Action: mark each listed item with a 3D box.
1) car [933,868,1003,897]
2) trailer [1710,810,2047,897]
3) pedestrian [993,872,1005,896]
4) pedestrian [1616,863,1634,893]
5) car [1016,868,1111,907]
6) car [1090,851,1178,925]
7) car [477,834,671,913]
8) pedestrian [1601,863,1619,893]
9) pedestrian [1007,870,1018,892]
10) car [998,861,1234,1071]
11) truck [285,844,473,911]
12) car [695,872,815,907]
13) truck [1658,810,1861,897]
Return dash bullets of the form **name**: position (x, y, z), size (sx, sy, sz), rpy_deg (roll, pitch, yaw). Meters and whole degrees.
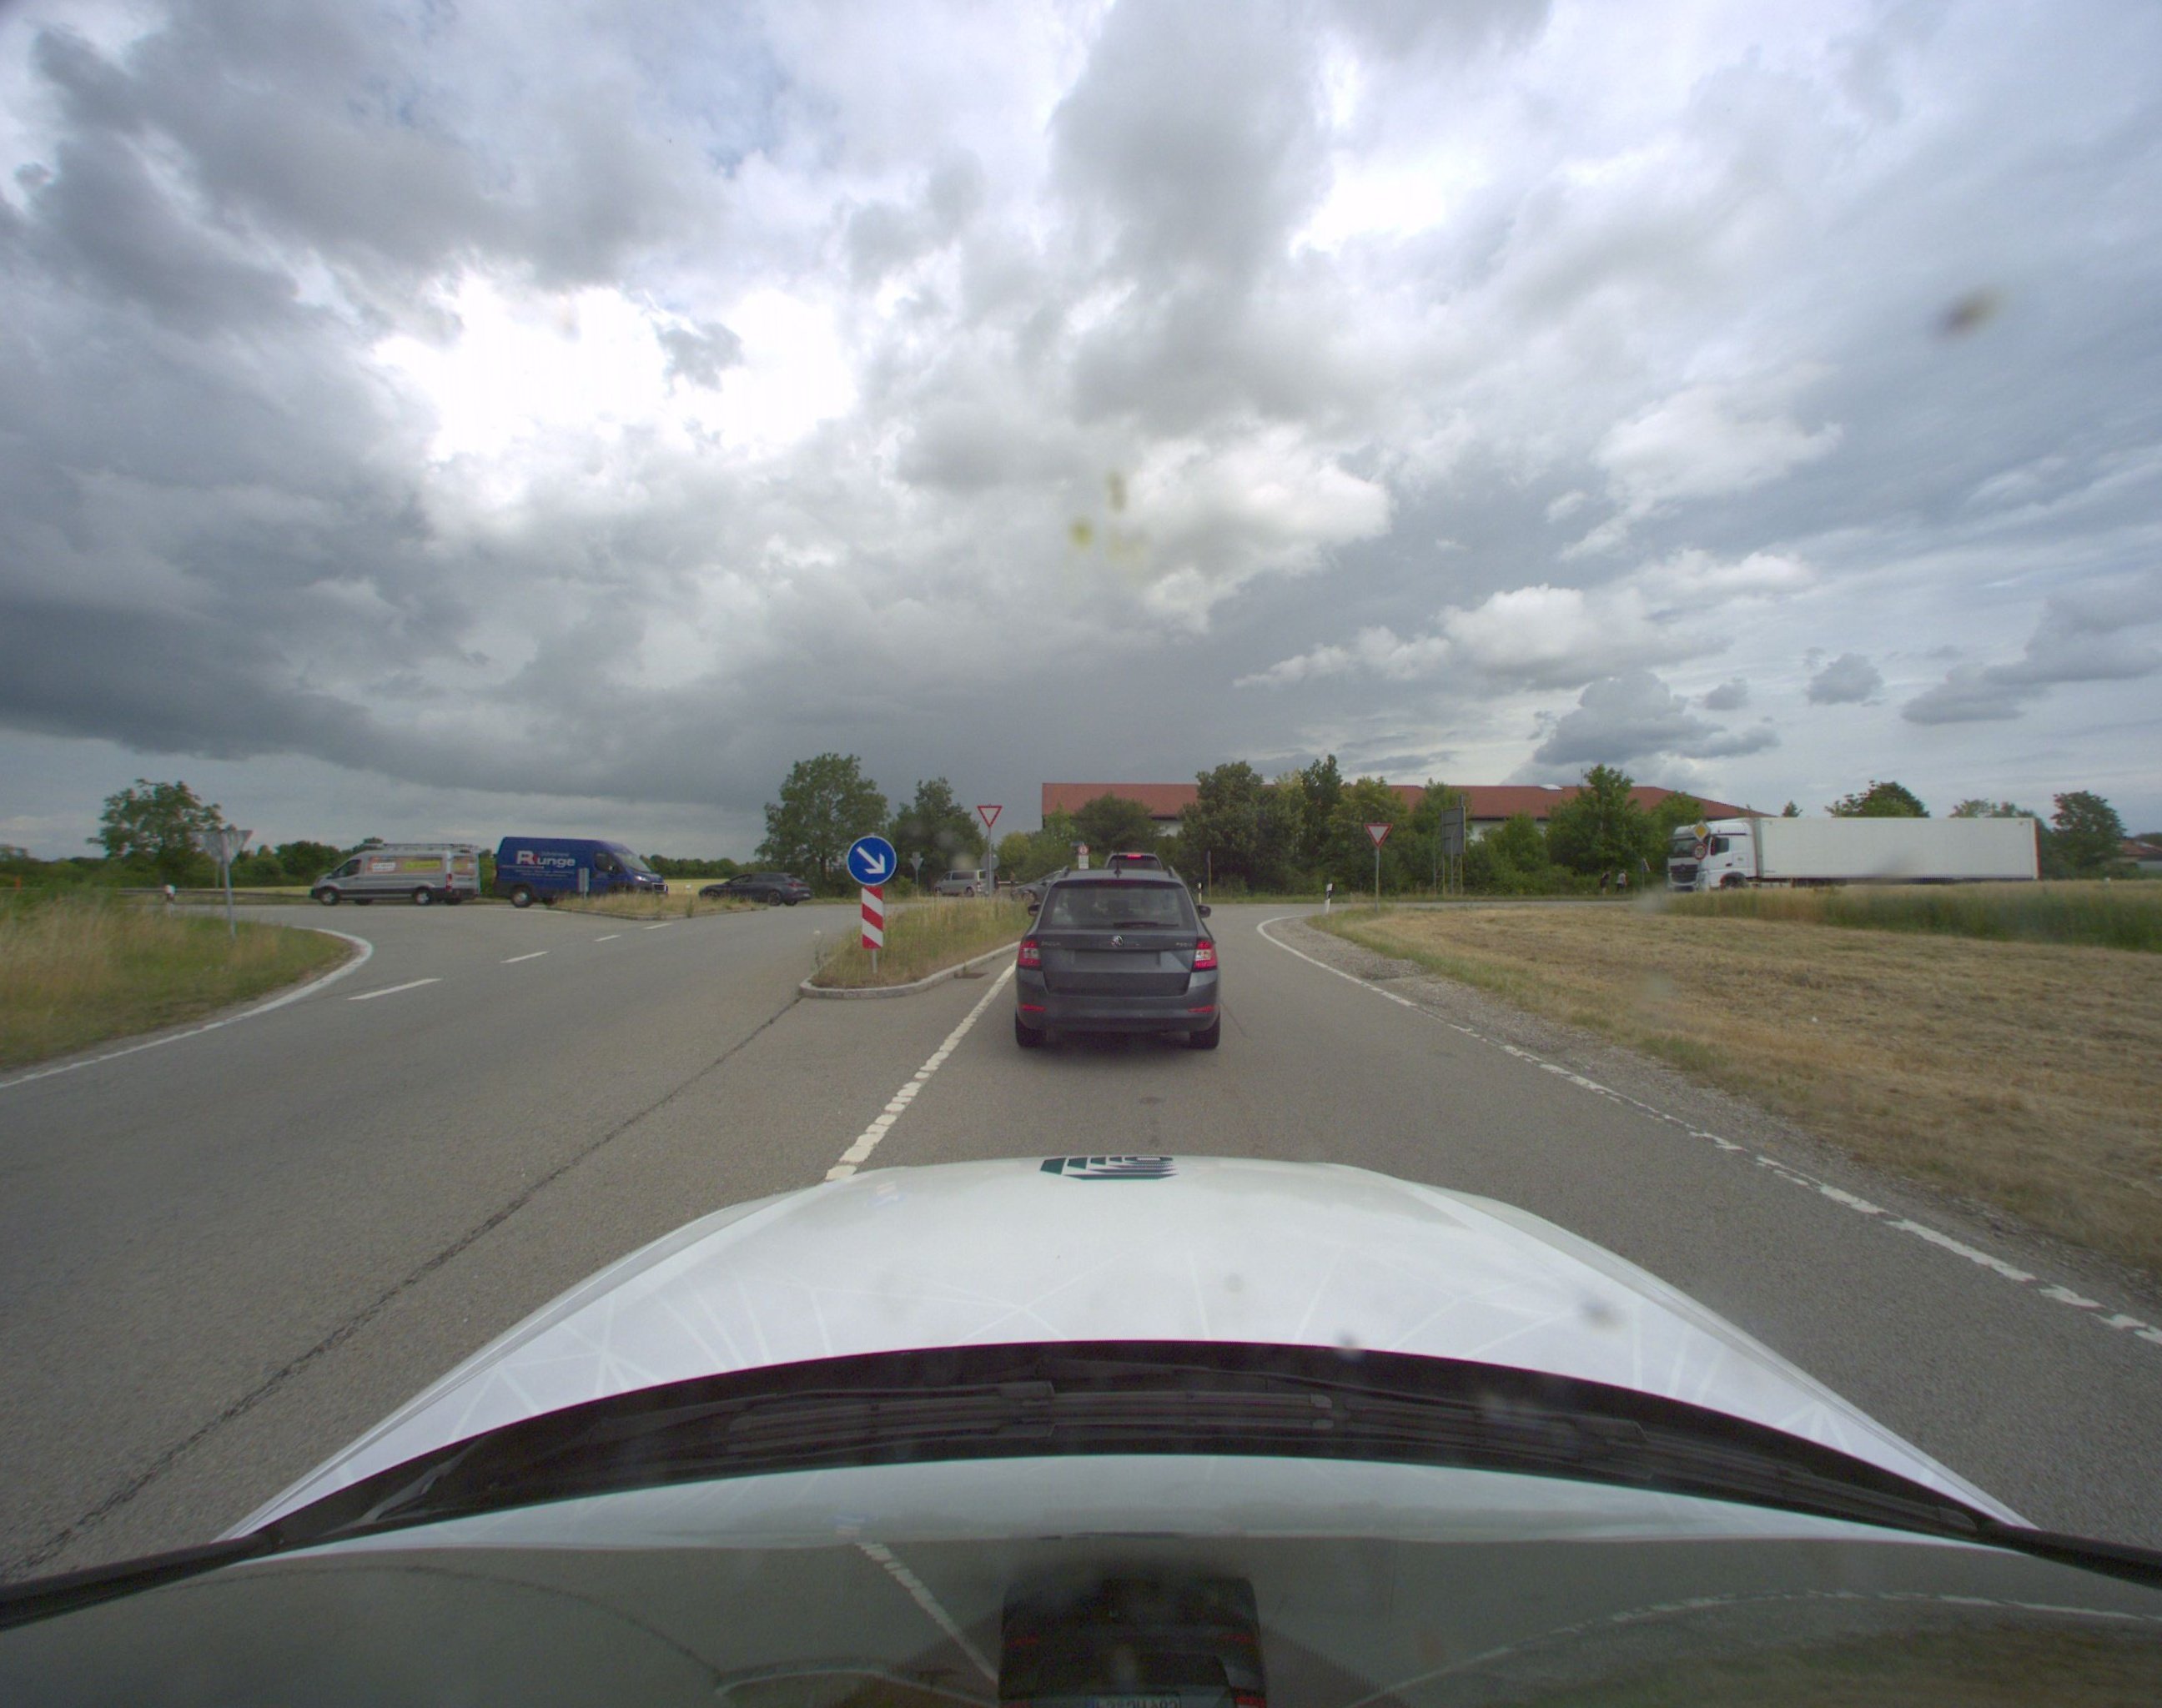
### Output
- **car**: position (-8.443, 2.083, 60.729), size (4.851, 2.014, 2.357), rpy_deg (-1, 0, 36)
- **trailer**: position (38.683, 0.007, 39.754), size (13.808, 4.015, 3.125), rpy_deg (0, -3, -3)
- **pedestrian**: position (-6.064, 2.204, 60.384), size (0.523, 1.726, 0.646), rpy_deg (-1, -1, 35)
- **pedestrian**: position (30.343, 1.341, 45.453), size (0.625, 1.682, 0.529), rpy_deg (-1, -1, -7)
- **car**: position (-0.774, 1.513, 37.132), size (4.198, 1.601, 1.999), rpy_deg (-2, -1, -1)
- **car**: position (1.285, 0.883, 21.815), size (1.988, 1.775, 4.641), rpy_deg (0, -2, -1)
- **car**: position (-18.148, 0.666, 29.387), size (5.540, 2.639, 2.147), rpy_deg (-1, 0, -3)
- **pedestrian**: position (30.161, 1.339, 46.451), size (0.625, 1.682, 0.529), rpy_deg (-1, -1, -7)
- **pedestrian**: position (-5.290, 2.118, 63.066), size (0.578, 1.682, 0.569), rpy_deg (-1, -1, 24)
- **car**: position (0.300, 0.809, 7.639), size (1.670, 1.463, 3.708), rpy_deg (0, 0, 1)
- **truck**: position (-30.318, 0.966, 35.344), size (6.016, 2.703, 2.062), rpy_deg (-1, 0, -6)
- **car**: position (-13.617, 1.471, 34.165), size (4.322, 1.345, 1.683), rpy_deg (-1, -1, 3)
- **truck**: position (32.637, 0.050, 39.404), size (7.266, 4.015, 3.125), rpy_deg (0, -3, -3)
